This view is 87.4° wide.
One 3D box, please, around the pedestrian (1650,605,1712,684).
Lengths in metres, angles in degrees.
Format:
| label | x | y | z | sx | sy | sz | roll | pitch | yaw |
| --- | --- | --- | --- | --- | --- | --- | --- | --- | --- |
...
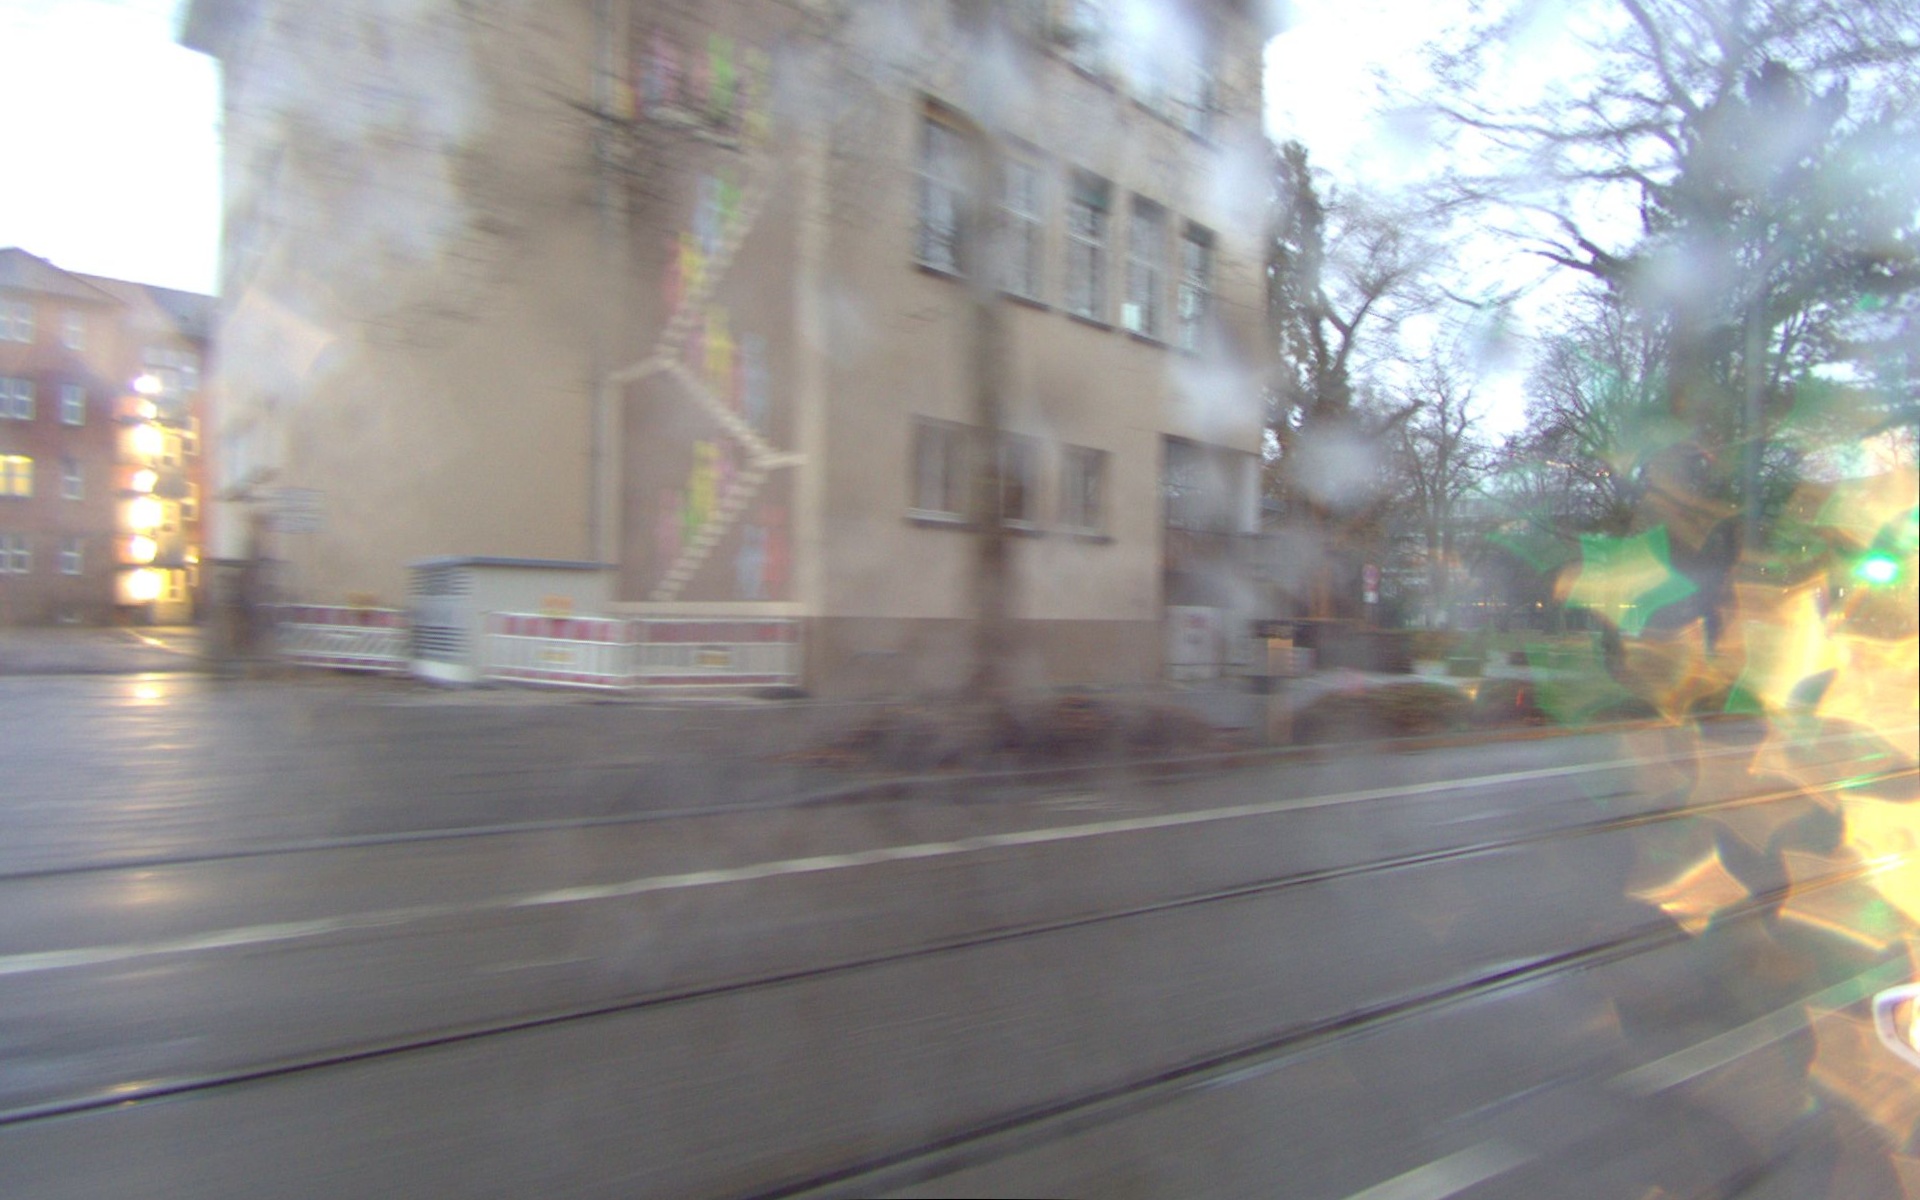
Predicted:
| label | x | y | z | sx | sy | sz | roll | pitch | yaw |
| --- | --- | --- | --- | --- | --- | --- | --- | --- | --- |
| pedestrian | 17.233 | 1.048 | 24.014 | 0.997 | 1.839 | 0.817 | 2 | 0 | -27 |
